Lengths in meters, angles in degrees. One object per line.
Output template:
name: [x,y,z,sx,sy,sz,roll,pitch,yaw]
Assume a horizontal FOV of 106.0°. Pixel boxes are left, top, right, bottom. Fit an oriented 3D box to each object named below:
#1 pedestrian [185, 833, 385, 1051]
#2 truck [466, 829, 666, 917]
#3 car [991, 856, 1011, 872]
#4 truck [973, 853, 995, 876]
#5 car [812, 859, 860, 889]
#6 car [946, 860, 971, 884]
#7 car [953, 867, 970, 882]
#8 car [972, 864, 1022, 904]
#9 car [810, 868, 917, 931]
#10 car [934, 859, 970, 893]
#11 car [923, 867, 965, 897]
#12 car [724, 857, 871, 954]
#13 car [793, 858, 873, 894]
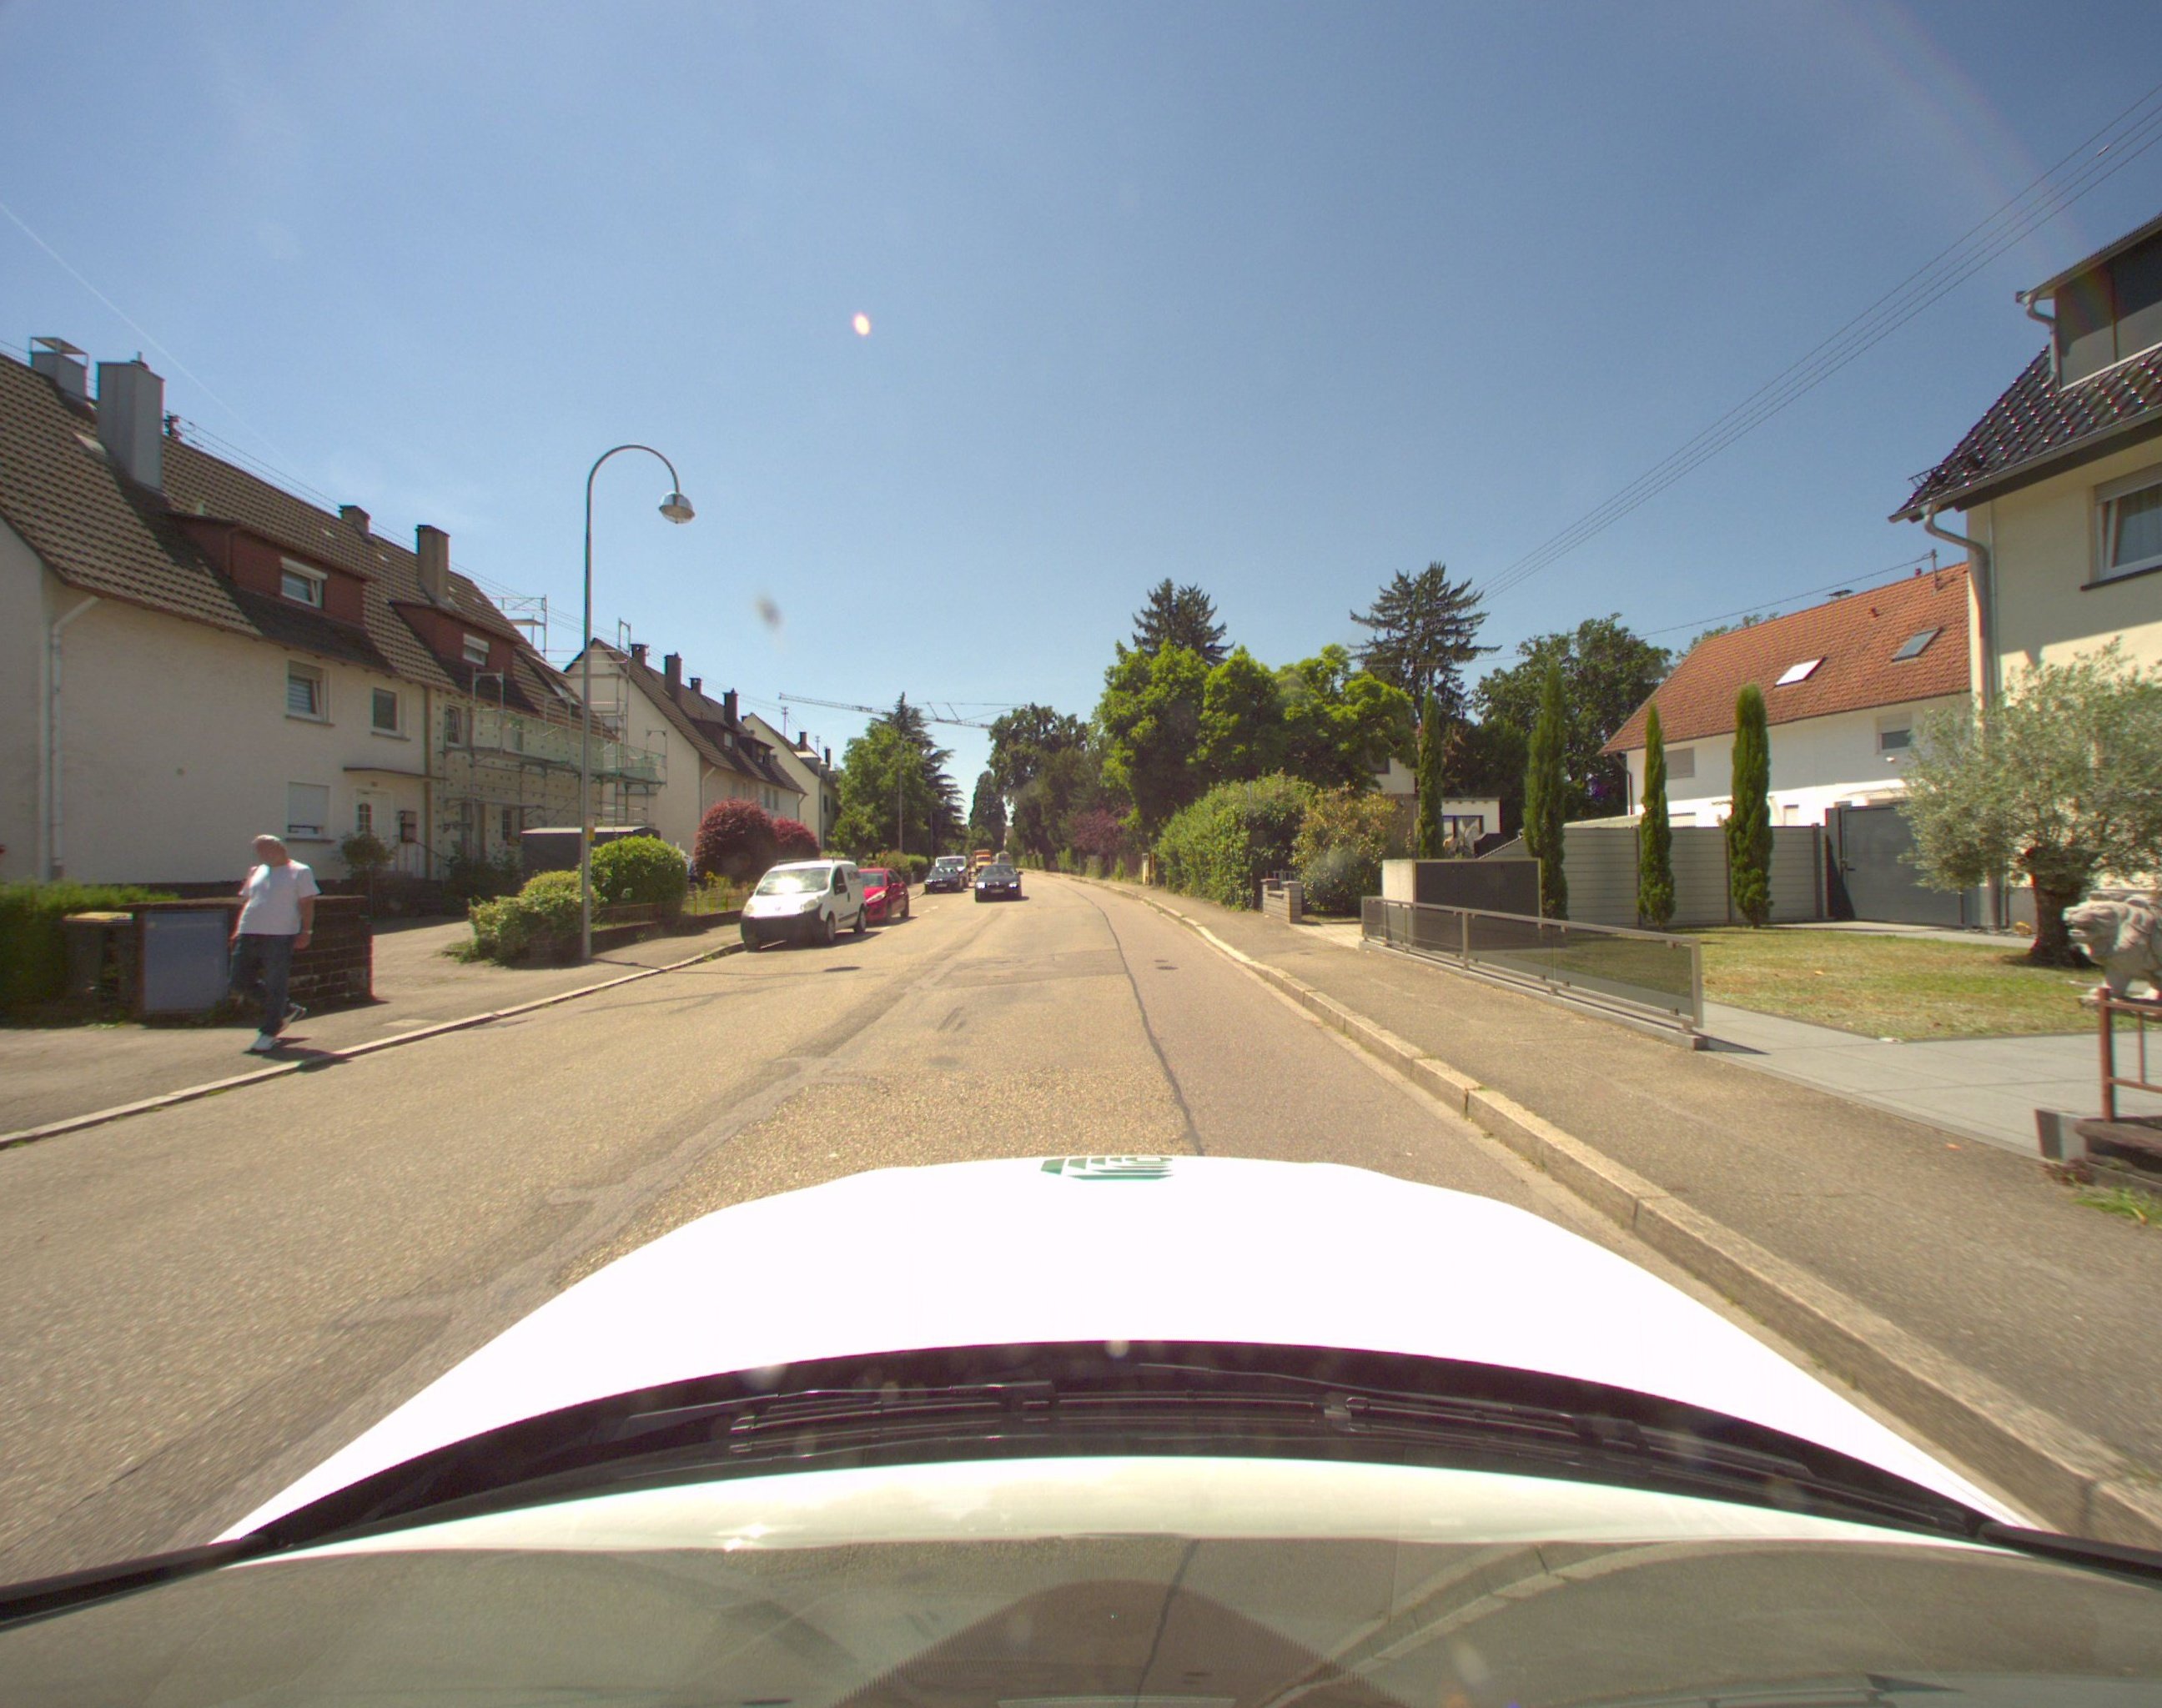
pedestrian: [-7.508,0.788,7.747,0.686,1.890,1.020,4,-2,5]
truck: [-12.328,0.435,19.649,3.758,1.938,1.545,-1,-1,-3]
car: [-11.842,1.459,120.036,2.146,2.315,4.829,-2,0,-14]
truck: [-12.331,1.391,103.620,2.374,2.830,5.638,-1,-1,-10]
car: [-15.741,1.273,52.481,1.708,1.870,4.001,1,-1,2]
car: [-9.537,1.417,63.505,1.757,1.727,4.445,-2,-1,-8]
car: [-14.356,2.410,97.822,1.851,1.671,4.695,-3,-1,-10]
car: [-3.258,1.164,32.224,1.728,1.417,3.995,-2,-1,-3]
car: [-5.830,1.165,22.328,1.755,1.477,4.057,-3,-1,0]
car: [-7.823,1.348,49.832,1.884,1.881,4.969,-2,-1,-6]
car: [-7.043,1.422,42.156,1.696,1.384,4.228,-3,-1,-5]
car: [-5.845,0.986,17.319,1.718,1.736,3.885,-3,-1,-1]
car: [-12.403,1.073,40.979,1.629,1.511,4.134,2,2,21]
